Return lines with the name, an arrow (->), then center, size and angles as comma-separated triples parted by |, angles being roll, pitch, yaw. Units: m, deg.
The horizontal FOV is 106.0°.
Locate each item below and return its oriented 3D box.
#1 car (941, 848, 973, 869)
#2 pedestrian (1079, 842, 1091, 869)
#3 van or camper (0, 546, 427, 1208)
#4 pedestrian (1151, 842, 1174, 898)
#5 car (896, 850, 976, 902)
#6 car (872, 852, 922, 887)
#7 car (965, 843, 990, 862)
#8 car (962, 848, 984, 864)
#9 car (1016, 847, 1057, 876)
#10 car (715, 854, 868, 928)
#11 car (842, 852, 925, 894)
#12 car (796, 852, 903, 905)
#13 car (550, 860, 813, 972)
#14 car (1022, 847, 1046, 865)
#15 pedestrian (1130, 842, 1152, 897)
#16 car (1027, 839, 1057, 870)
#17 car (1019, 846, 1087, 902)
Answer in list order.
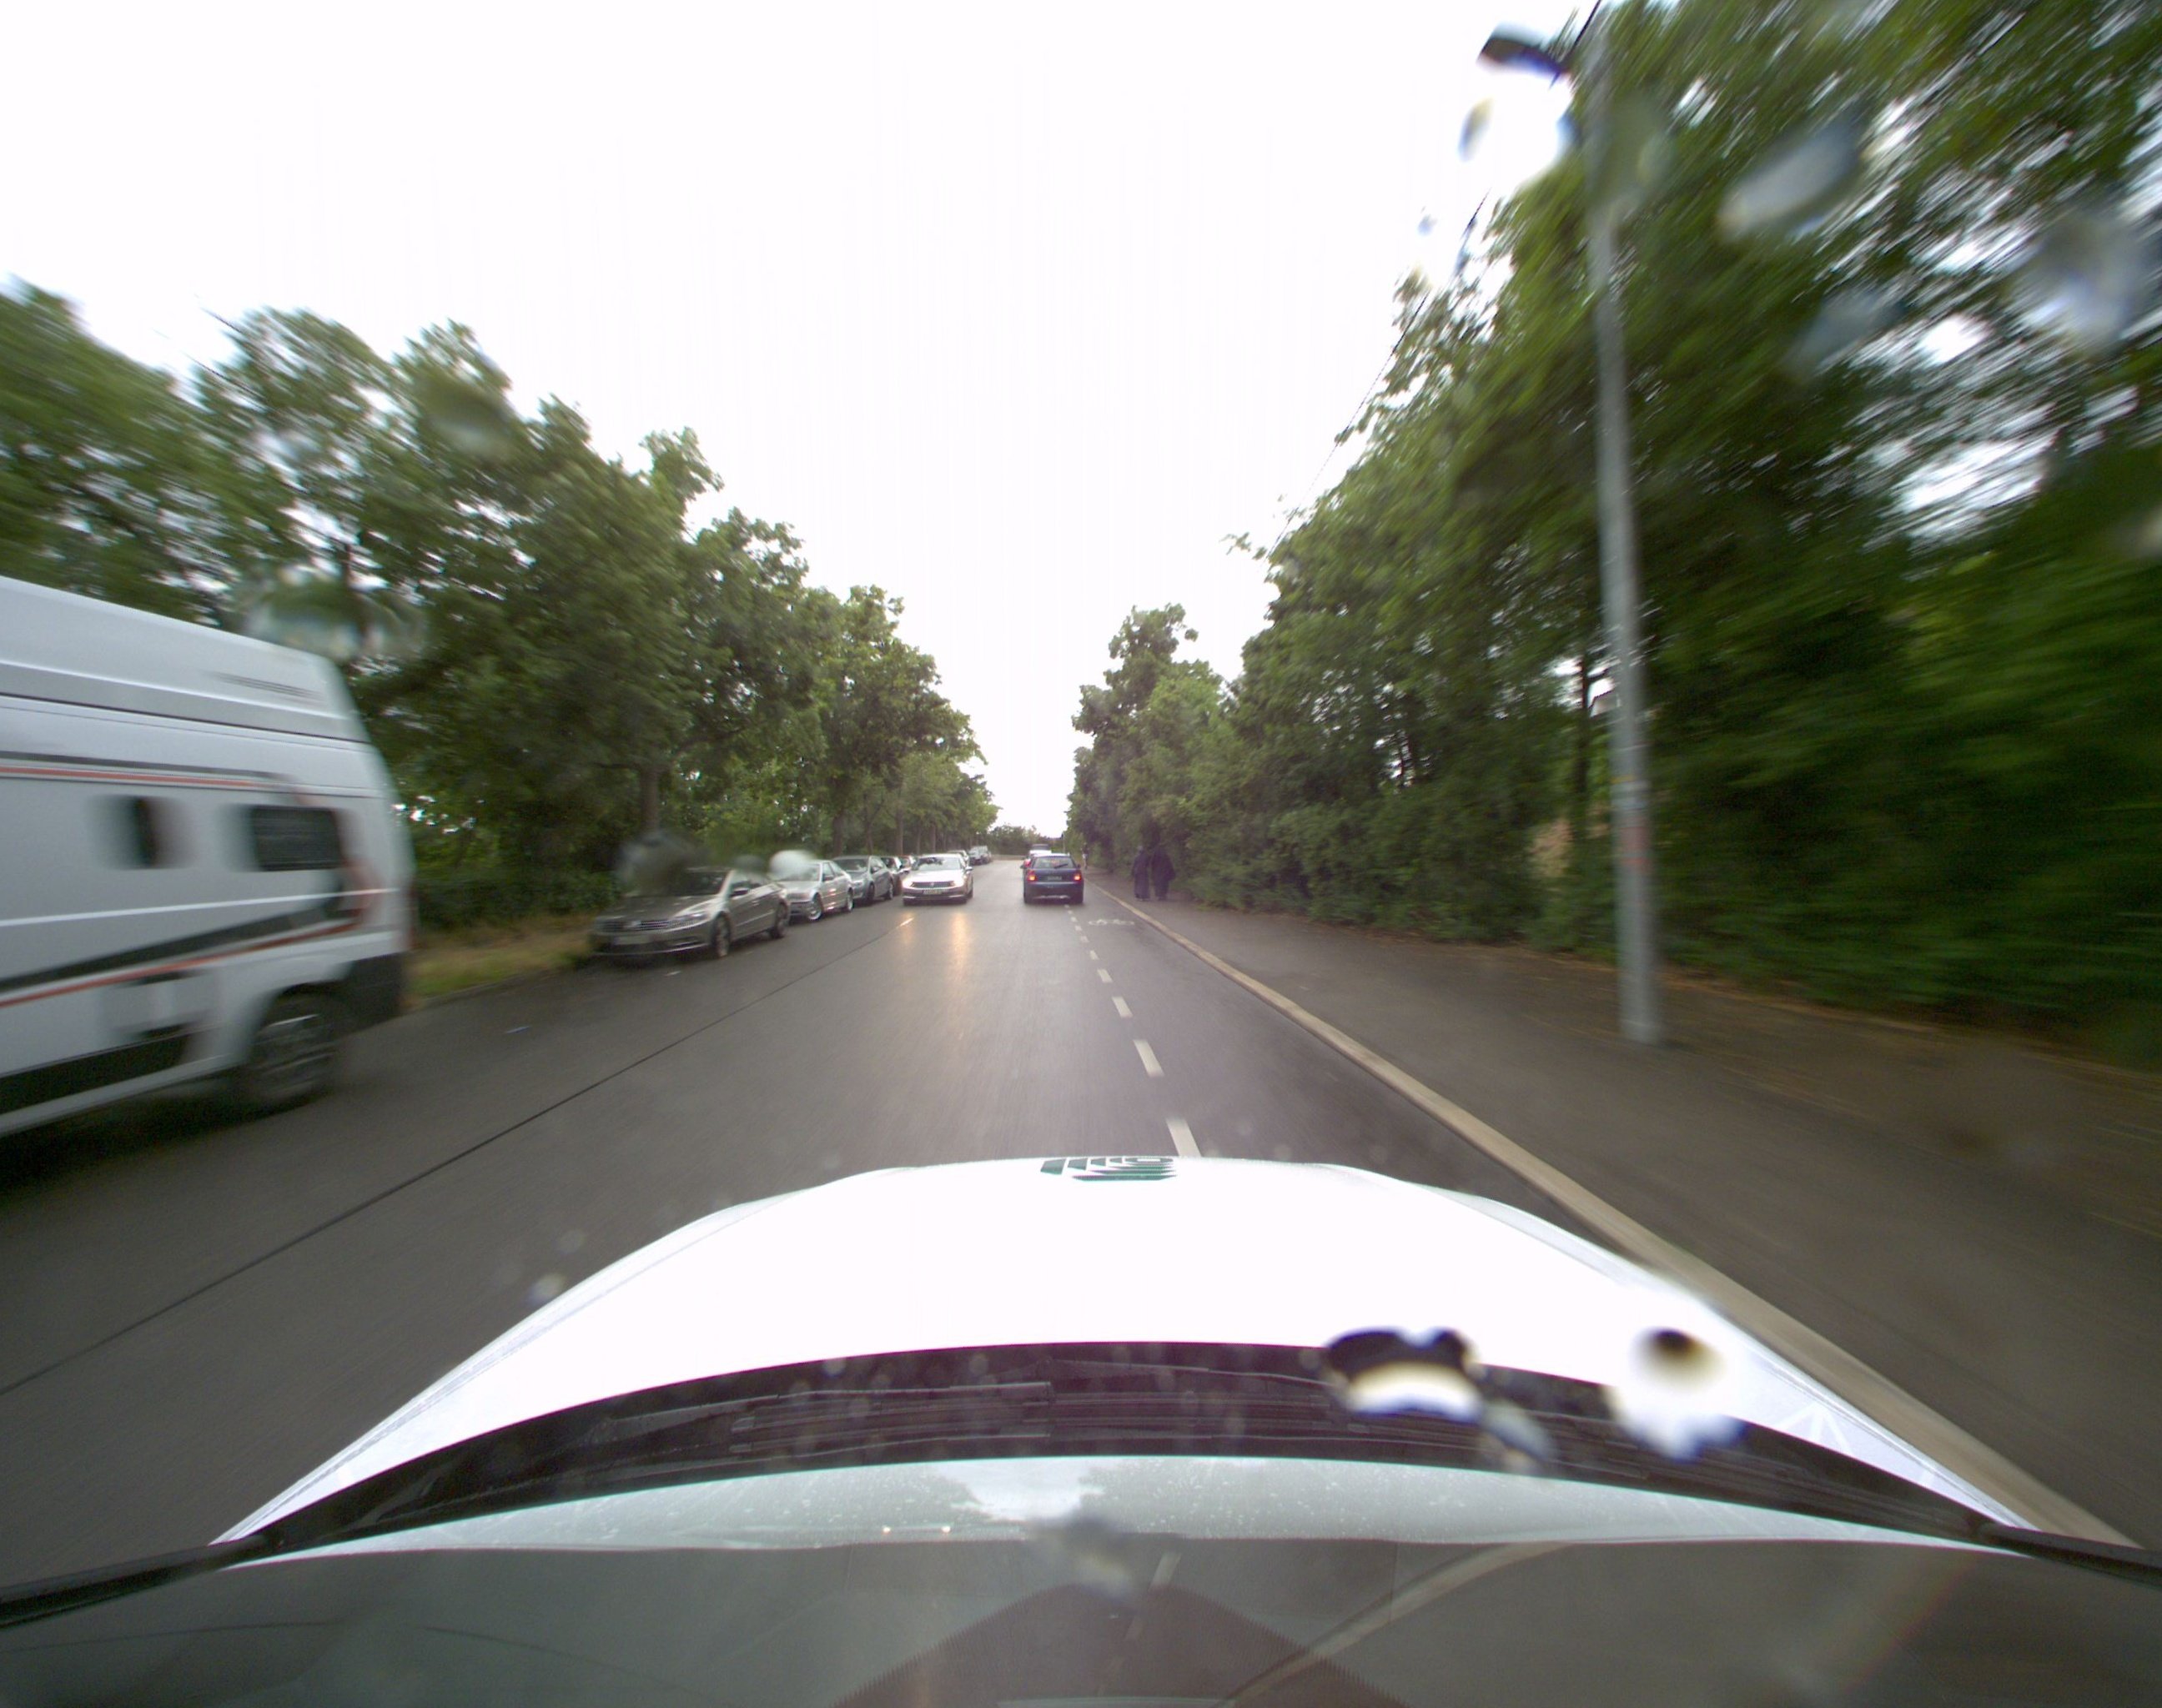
car -> -8.952, 0.322, 59.134 | 1.684, 1.437, 4.253 | -2, 0, -1
pedestrian -> 0.273, 0.112, 56.547 | 0.715, 1.834, 1.021 | -3, 0, -2
van or camper -> -6.145, 0.146, 2.850 | 2.500, 3.026, 6.554 | -3, 0, -3
pedestrian -> 2.336, 0.457, 23.469 | 0.593, 1.566, 0.669 | -1, 0, 1
car -> -4.300, 0.619, 24.810 | 1.879, 1.402, 4.251 | -2, 0, -3
car -> -7.941, 0.634, 35.418 | 1.593, 1.362, 3.993 | -2, 0, -6
car -> -10.723, -0.156, 84.795 | 2.079, 1.819, 5.375 | -2, 0, -3
car -> -10.355, 0.181, 78.561 | 1.794, 1.437, 4.249 | -2, 0, -4
car -> -2.354, 0.370, 42.119 | 1.889, 1.389, 3.991 | -1, 0, -6
car -> -6.902, 0.796, 20.062 | 1.987, 1.405, 4.714 | -2, 1, 0
car -> -7.367, 0.656, 30.861 | 1.988, 1.405, 4.712 | -3, 0, -1
car -> -7.034, 0.688, 25.280 | 1.988, 1.405, 4.712 | -3, 0, -1
car -> -6.481, 0.895, 14.120 | 1.988, 1.309, 5.352 | -3, 1, -2
car -> -4.495, 0.223, 77.373 | 1.821, 1.617, 3.773 | -2, 0, -9
pedestrian -> 1.716, 0.442, 23.478 | 0.550, 1.566, 0.487 | -2, 0, 1
car -> -2.982, 0.069, 61.707 | 1.787, 1.953, 3.989 | -6, -2, -7
car -> -0.927, 0.544, 24.802 | 1.745, 1.407, 3.992 | 2, 2, -6
